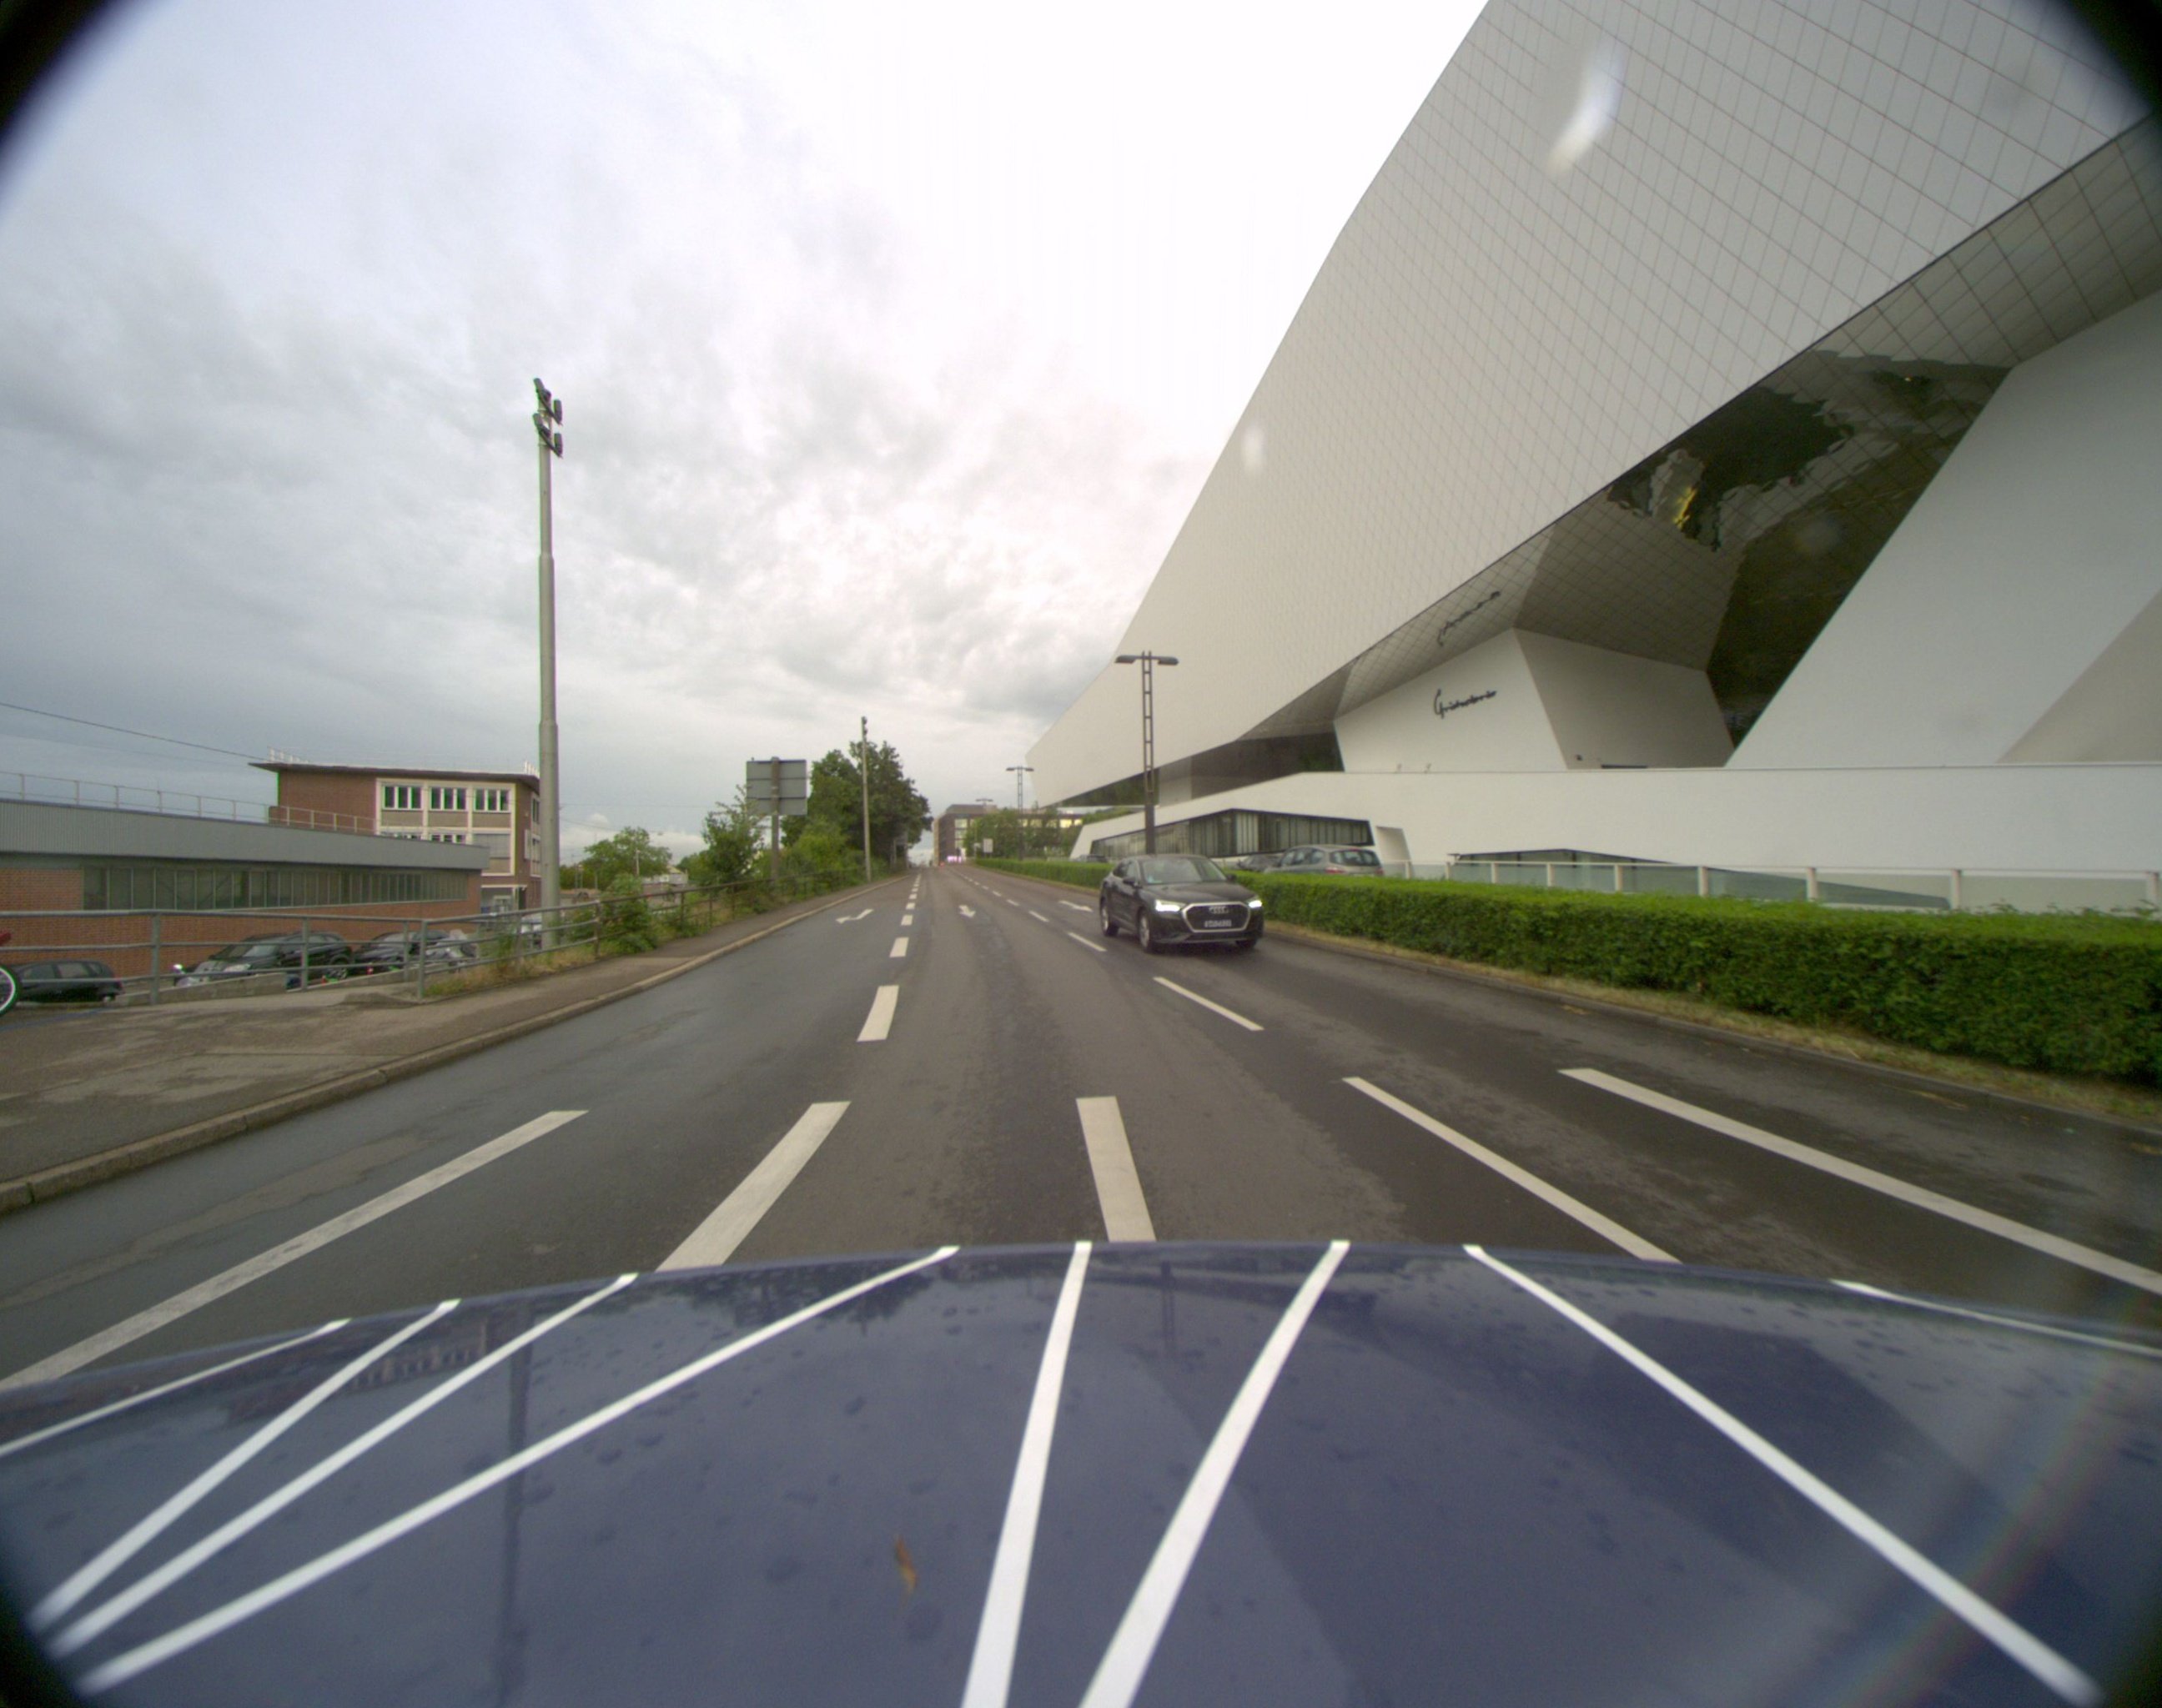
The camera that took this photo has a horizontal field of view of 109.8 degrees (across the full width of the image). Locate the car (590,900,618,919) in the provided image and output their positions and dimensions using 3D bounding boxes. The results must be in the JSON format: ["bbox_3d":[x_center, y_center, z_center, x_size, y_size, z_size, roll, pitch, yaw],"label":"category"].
[{"bbox_3d":[-41.952,4.824,66.883,1.670,1.387,3.992,-2,0,-27],"label":"car"}]

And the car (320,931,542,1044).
[{"bbox_3d":[-12.793,2.541,15.313,1.704,1.546,3.853,-1,0,-12],"label":"car"}]

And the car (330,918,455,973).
[{"bbox_3d":[-25.678,3.365,28.531,1.704,1.546,3.853,-1,0,-12],"label":"car"}]

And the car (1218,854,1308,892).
[{"bbox_3d":[7.436,0.742,31.543,1.840,1.463,4.508,-1,0,-13],"label":"car"}]

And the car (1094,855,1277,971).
[{"bbox_3d":[1.562,0.846,13.066,1.842,1.574,4.285,-2,1,-10],"label":"car"}]

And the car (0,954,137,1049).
[{"bbox_3d":[-23.247,3.230,16.220,1.704,1.618,3.927,-1,0,-11],"label":"car"}]

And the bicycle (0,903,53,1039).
[{"bbox_3d":[-10.563,1.060,6.554,1.935,1.171,0.598,-1,1,-26],"label":"bicycle"}]

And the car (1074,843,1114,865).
[{"bbox_3d":[0.813,-0.006,50.001,1.852,1.330,3.996,-1,0,-10],"label":"car"}]

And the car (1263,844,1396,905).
[{"bbox_3d":[6.784,0.519,21.231,1.839,1.485,3.996,-1,0,-11],"label":"car"}]

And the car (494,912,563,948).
[{"bbox_3d":[-30.045,4.104,41.447,1.704,1.546,3.852,-1,0,-14],"label":"car"}]

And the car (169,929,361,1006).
[{"bbox_3d":[-24.374,3.311,22.964,1.638,1.621,4.425,-1,0,-12],"label":"car"}]
